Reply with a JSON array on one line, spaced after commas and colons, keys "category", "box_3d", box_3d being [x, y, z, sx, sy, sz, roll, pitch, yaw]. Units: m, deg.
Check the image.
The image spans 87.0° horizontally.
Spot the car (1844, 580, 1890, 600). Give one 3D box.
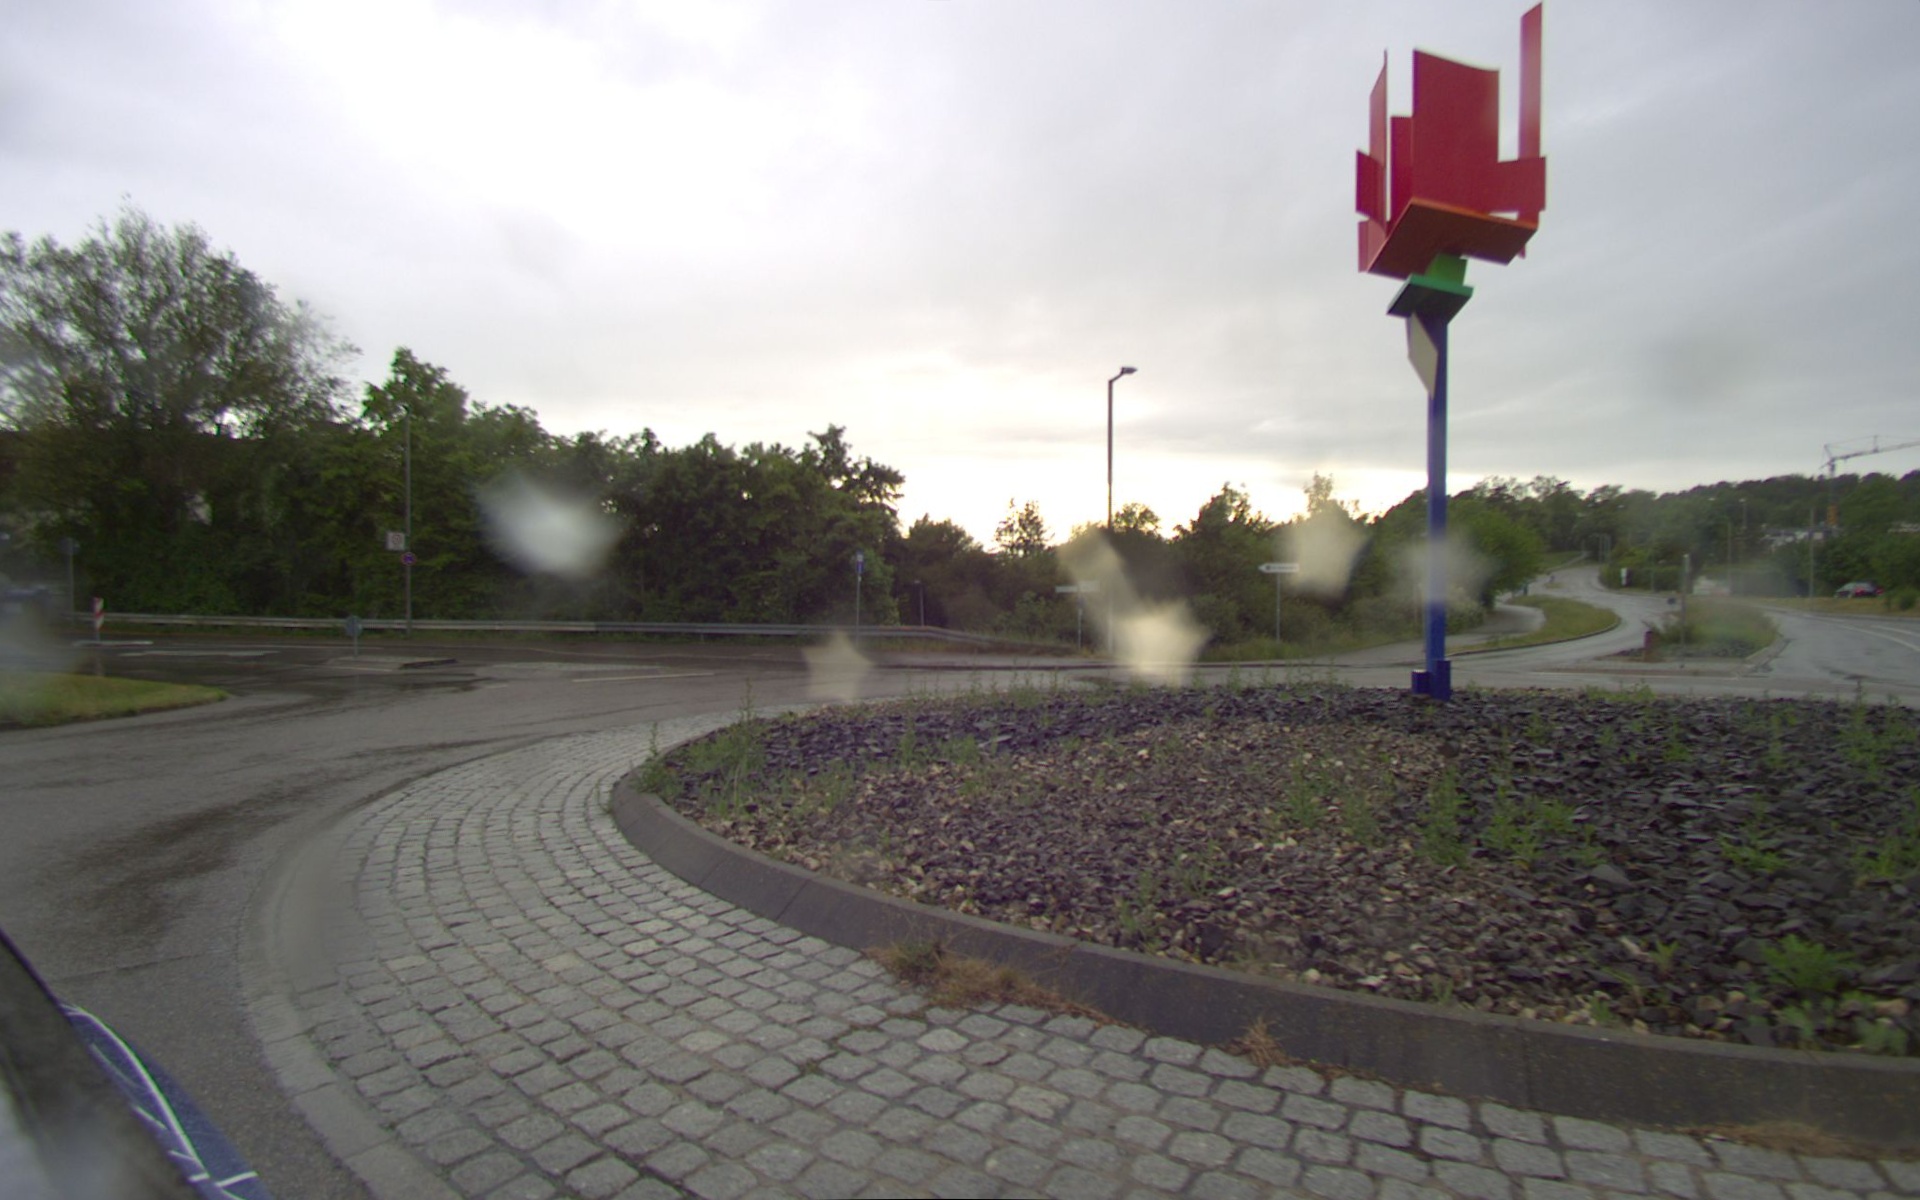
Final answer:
[{"category": "car", "box_3d": [76.651, -0.809, 85.567, 1.688, 1.580, 4.499, -3, -2, 27]}]

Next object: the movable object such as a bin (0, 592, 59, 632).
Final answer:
[{"category": "movable object such as a bin", "box_3d": [-32.932, 0.416, 35.799, 1.058, 1.352, 1.200, 1, 3, -8]}]
